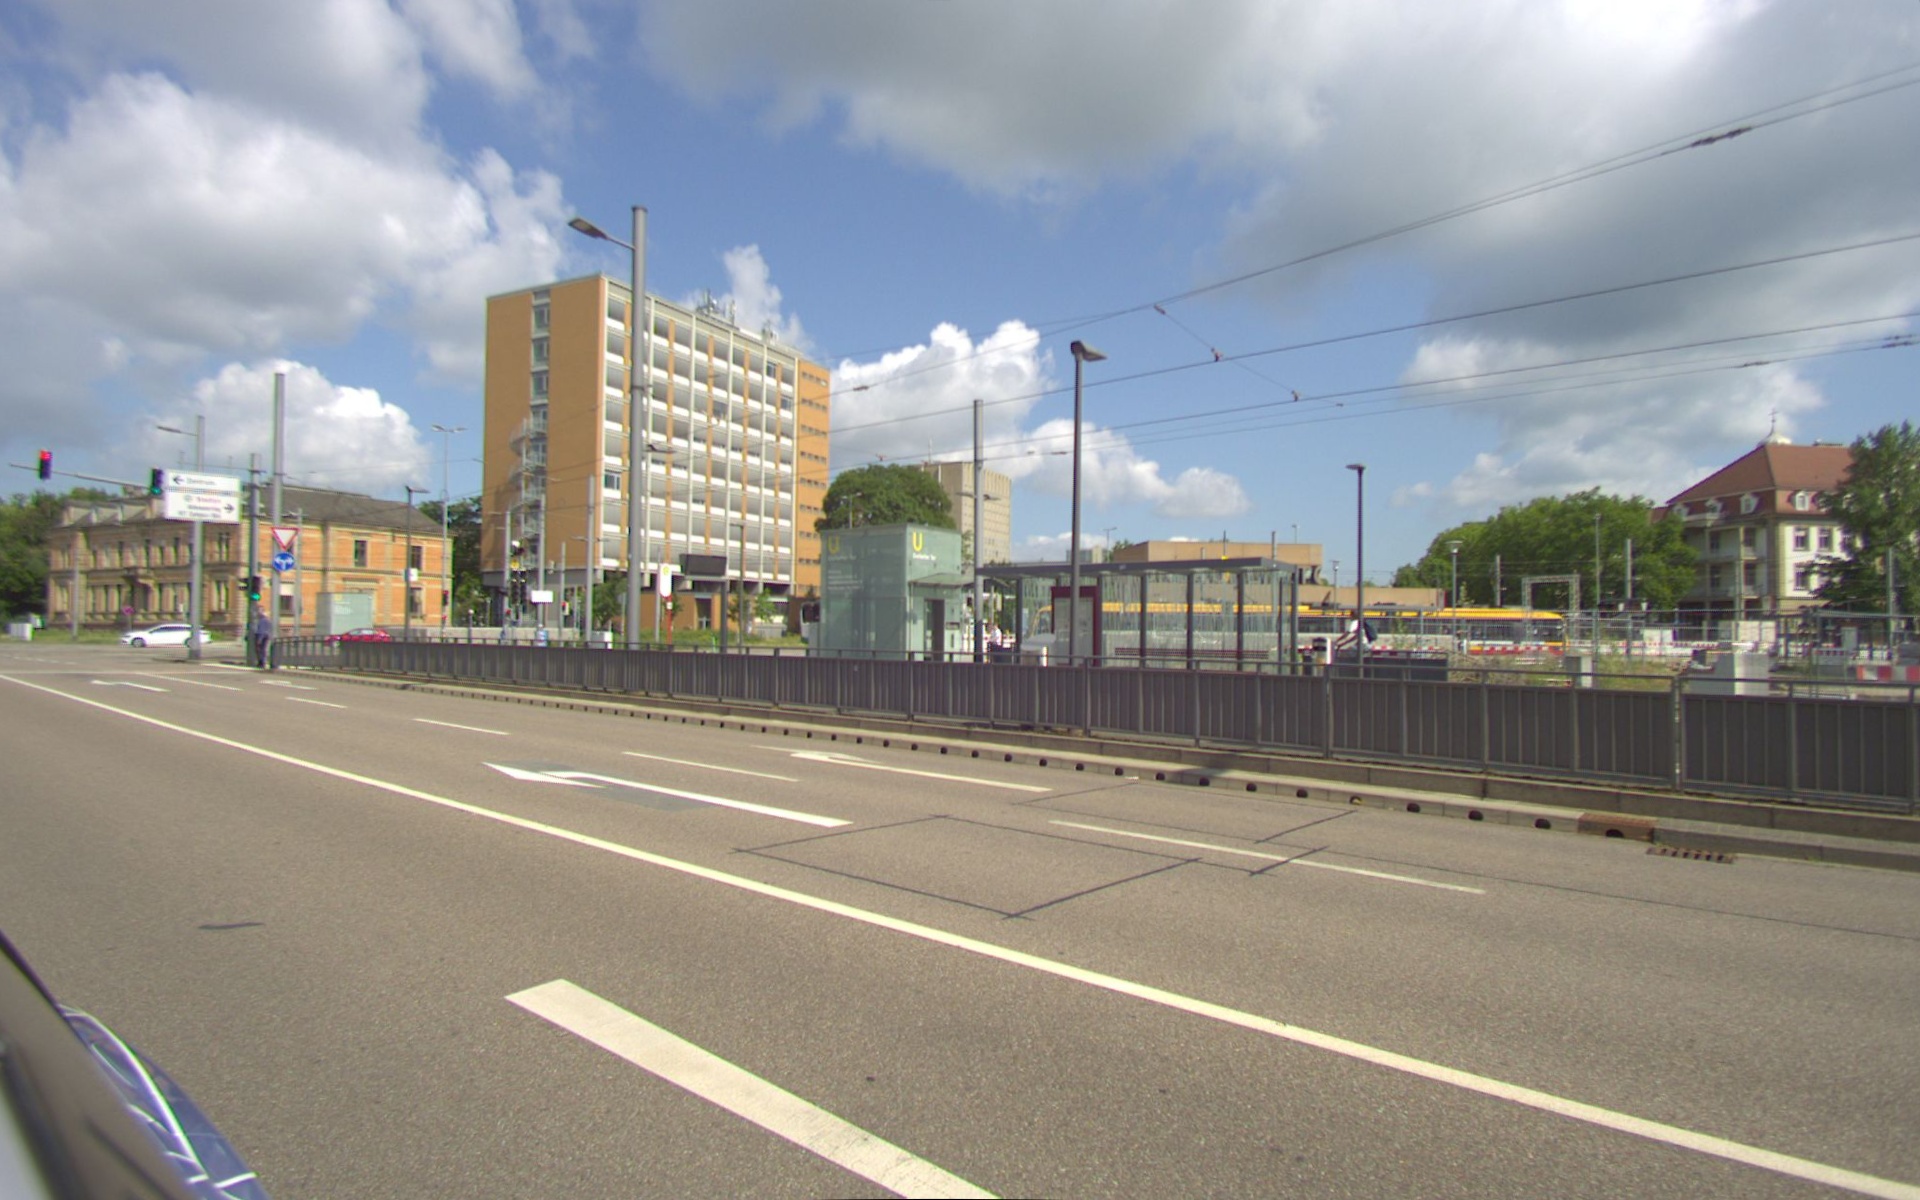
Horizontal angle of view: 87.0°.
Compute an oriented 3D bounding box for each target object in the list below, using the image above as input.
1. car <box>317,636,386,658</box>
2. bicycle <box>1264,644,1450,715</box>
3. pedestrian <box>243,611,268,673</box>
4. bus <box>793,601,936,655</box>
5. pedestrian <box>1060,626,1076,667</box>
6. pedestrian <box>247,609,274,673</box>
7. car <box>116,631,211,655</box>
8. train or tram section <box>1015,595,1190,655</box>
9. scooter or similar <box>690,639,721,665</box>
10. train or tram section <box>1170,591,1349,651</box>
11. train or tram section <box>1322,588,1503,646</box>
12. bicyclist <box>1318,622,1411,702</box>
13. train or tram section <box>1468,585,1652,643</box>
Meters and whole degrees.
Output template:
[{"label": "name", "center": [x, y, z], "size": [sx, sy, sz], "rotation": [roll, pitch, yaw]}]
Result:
[{"label": "car", "center": [-42.328, 3.270, 70.480], "size": [3.998, 1.479, 1.650], "rotation": [1, -4, -35]}, {"label": "bicycle", "center": [8.826, 1.718, 22.656], "size": [3.689, 1.438, 1.181], "rotation": [-1, -3, 39]}, {"label": "pedestrian", "center": [-23.071, 1.373, 33.145], "size": [0.576, 2.029, 0.423], "rotation": [-1, -3, 29]}, {"label": "bus", "center": [-6.747, 2.145, 74.160], "size": [2.911, 3.648, 12.220], "rotation": [-1, -3, 37]}, {"label": "pedestrian", "center": [4.789, 2.064, 45.013], "size": [0.553, 1.808, 0.721], "rotation": [1, -2, -7]}, {"label": "pedestrian", "center": [-22.497, 1.329, 32.553], "size": [0.513, 2.029, 0.498], "rotation": [-1, -3, 29]}, {"label": "car", "center": [-50.964, 2.729, 64.891], "size": [4.596, 1.440, 1.768], "rotation": [1, -4, -33]}, {"label": "train or tram section", "center": [8.979, 1.627, 64.557], "size": [10.444, 3.507, 3.328], "rotation": [-1, -3, -6]}, {"label": "scooter or similar", "center": [-11.725, 2.393, 46.670], "size": [1.164, 1.175, 0.804], "rotation": [-1, -3, 31]}, {"label": "train or tram section", "center": [19.321, 1.386, 65.640], "size": [10.444, 3.507, 3.328], "rotation": [-1, -3, -6]}, {"label": "train or tram section", "center": [29.712, 1.156, 66.693], "size": [10.444, 3.507, 3.328], "rotation": [-1, -3, -6]}, {"label": "bicyclist", "center": [9.006, 1.348, 22.546], "size": [1.682, 1.696, 1.166], "rotation": [-1, -3, 38]}, {"label": "train or tram section", "center": [40.044, 0.987, 67.742], "size": [10.444, 3.507, 3.328], "rotation": [-1, -3, -6]}]
